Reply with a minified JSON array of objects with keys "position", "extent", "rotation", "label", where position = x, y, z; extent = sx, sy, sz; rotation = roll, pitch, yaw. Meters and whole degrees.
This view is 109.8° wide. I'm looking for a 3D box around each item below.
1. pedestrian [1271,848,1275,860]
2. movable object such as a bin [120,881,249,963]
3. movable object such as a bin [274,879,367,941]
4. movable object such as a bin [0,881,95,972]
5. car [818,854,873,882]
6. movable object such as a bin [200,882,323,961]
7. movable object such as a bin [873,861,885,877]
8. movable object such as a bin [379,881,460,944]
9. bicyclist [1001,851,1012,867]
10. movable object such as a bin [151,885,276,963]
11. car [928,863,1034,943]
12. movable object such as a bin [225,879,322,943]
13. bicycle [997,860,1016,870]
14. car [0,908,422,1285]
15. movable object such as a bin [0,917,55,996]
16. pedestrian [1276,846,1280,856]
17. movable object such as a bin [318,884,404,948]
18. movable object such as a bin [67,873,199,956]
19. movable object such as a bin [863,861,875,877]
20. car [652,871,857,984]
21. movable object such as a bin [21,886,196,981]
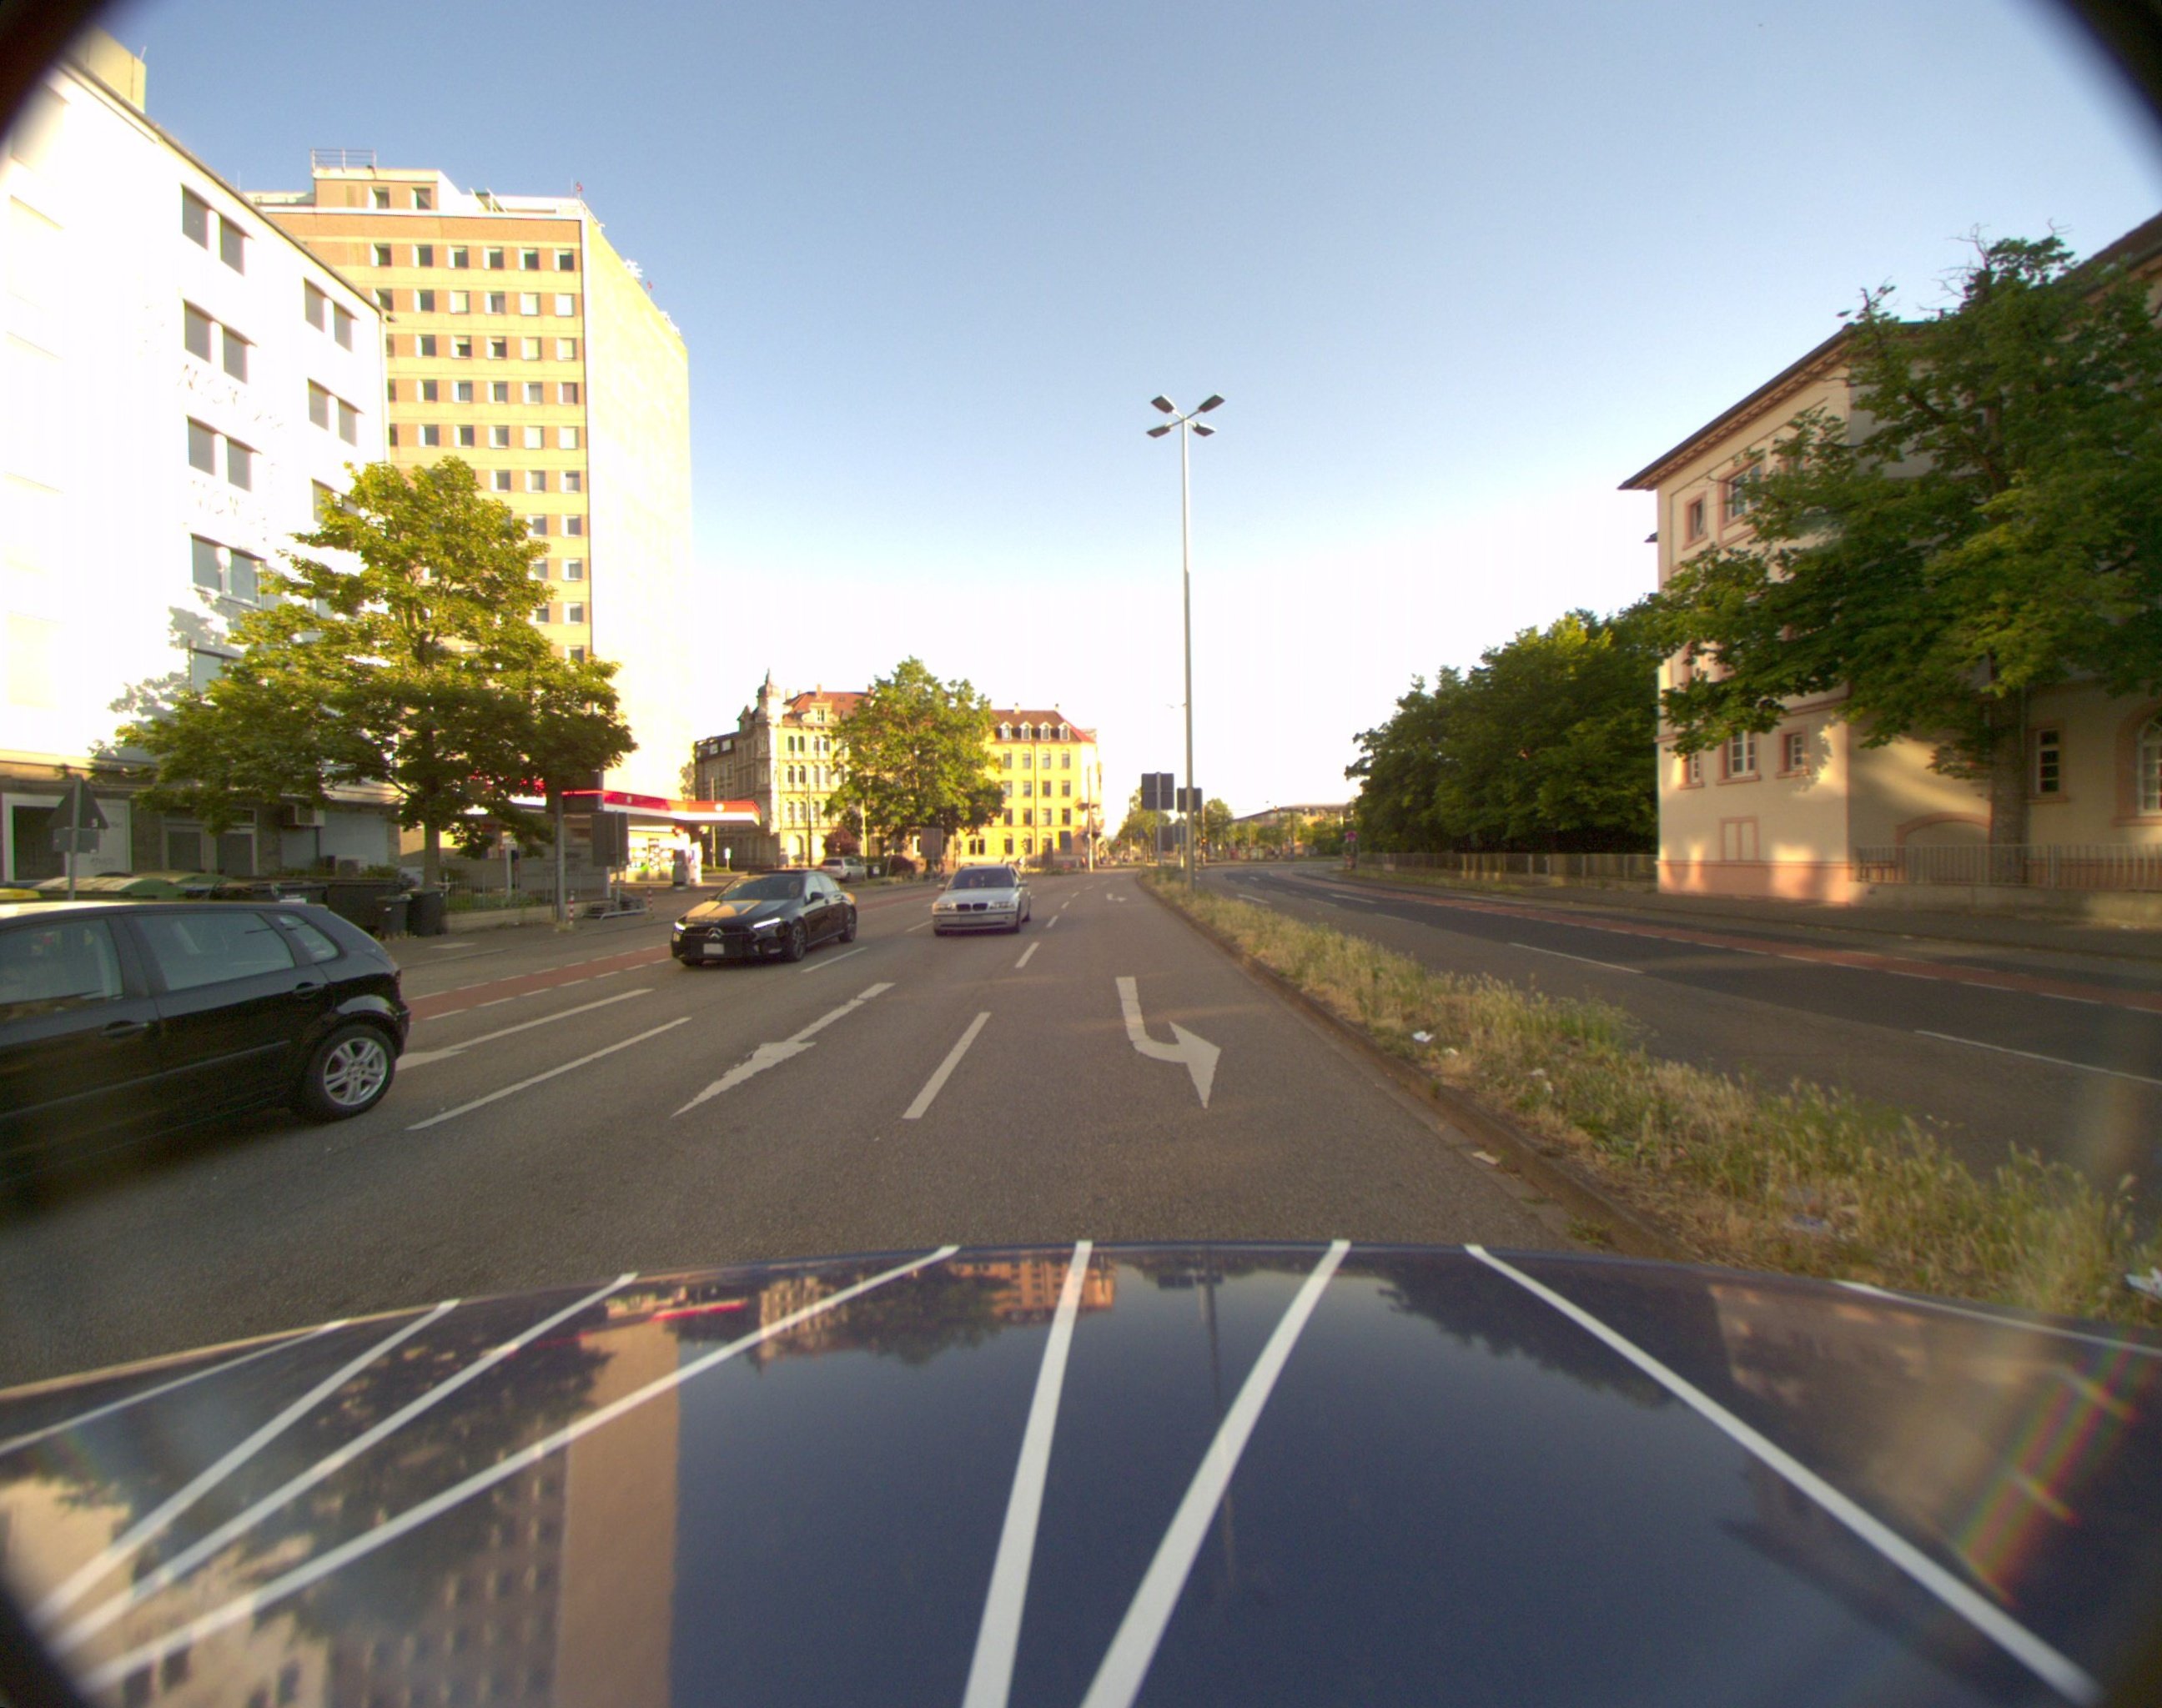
[{"position":[33.058,0.054,131.030],"extent":[0.556,2.002,0.664],"rotation":[-1,1,1],"label":"pedestrian"},{"position":[-17.128,1.274,14.563],"extent":[1.034,1.440,1.162],"rotation":[-1,1,-2],"label":"movable object such as a bin"},{"position":[-16.937,1.234,16.959],"extent":[0.956,1.276,1.098],"rotation":[-1,1,-2],"label":"movable object such as a bin"},{"position":[-18.695,1.259,13.404],"extent":[1.034,1.490,1.162],"rotation":[-1,1,-2],"label":"movable object such as a bin"},{"position":[-13.959,0.821,45.274],"extent":[1.688,1.508,3.798],"rotation":[-1,1,8],"label":"car"},{"position":[-14.928,1.210,13.888],"extent":[0.956,1.320,1.162],"rotation":[-1,1,-2],"label":"movable object such as a bin"},{"position":[-13.153,0.967,49.553],"extent":[0.544,1.013,0.688],"rotation":[-1,1,5],"label":"movable object such as a bin"},{"position":[-14.885,1.295,17.136],"extent":[0.956,1.320,0.953],"rotation":[-1,1,-2],"label":"movable object such as a bin"},{"position":[-7.658,0.538,77.934],"extent":[1.065,1.639,0.732],"rotation":[-1,1,-7],"label":"bicyclist"},{"position":[-16.045,1.271,14.094],"extent":[0.956,1.320,1.162],"rotation":[-1,1,-2],"label":"movable object such as a bin"},{"position":[-2.048,0.956,16.752],"extent":[1.675,1.410,4.440],"rotation":[-2,0,0],"label":"car"},{"position":[-17.935,1.247,16.915],"extent":[0.956,1.320,1.098],"rotation":[-1,1,-2],"label":"movable object such as a bin"},{"position":[-7.671,1.126,77.865],"extent":[1.927,1.053,0.451],"rotation":[-1,1,-7],"label":"bicycle"},{"position":[-5.379,1.126,3.296],"extent":[1.584,1.441,3.872],"rotation":[-2,0,1],"label":"car"},{"position":[-15.518,1.460,10.745],"extent":[0.853,1.039,0.819],"rotation":[-1,1,-4],"label":"movable object such as a bin"},{"position":[33.784,-0.438,130.324],"extent":[0.467,1.695,0.419],"rotation":[-1,1,1],"label":"pedestrian"},{"position":[-15.844,1.343,16.750],"extent":[0.956,1.320,0.953],"rotation":[-1,1,-2],"label":"movable object such as a bin"},{"position":[-18.305,1.137,14.715],"extent":[1.034,1.490,1.162],"rotation":[-1,1,-2],"label":"movable object such as a bin"},{"position":[-13.874,0.990,49.764],"extent":[0.544,1.013,0.688],"rotation":[-1,1,5],"label":"movable object such as a bin"},{"position":[-5.228,1.089,12.814],"extent":[1.731,1.441,4.045],"rotation":[-2,0,-1],"label":"car"},{"position":[-15.867,1.264,12.454],"extent":[1.351,1.415,1.105],"rotation":[-1,1,-4],"label":"movable object such as a bin"}]
